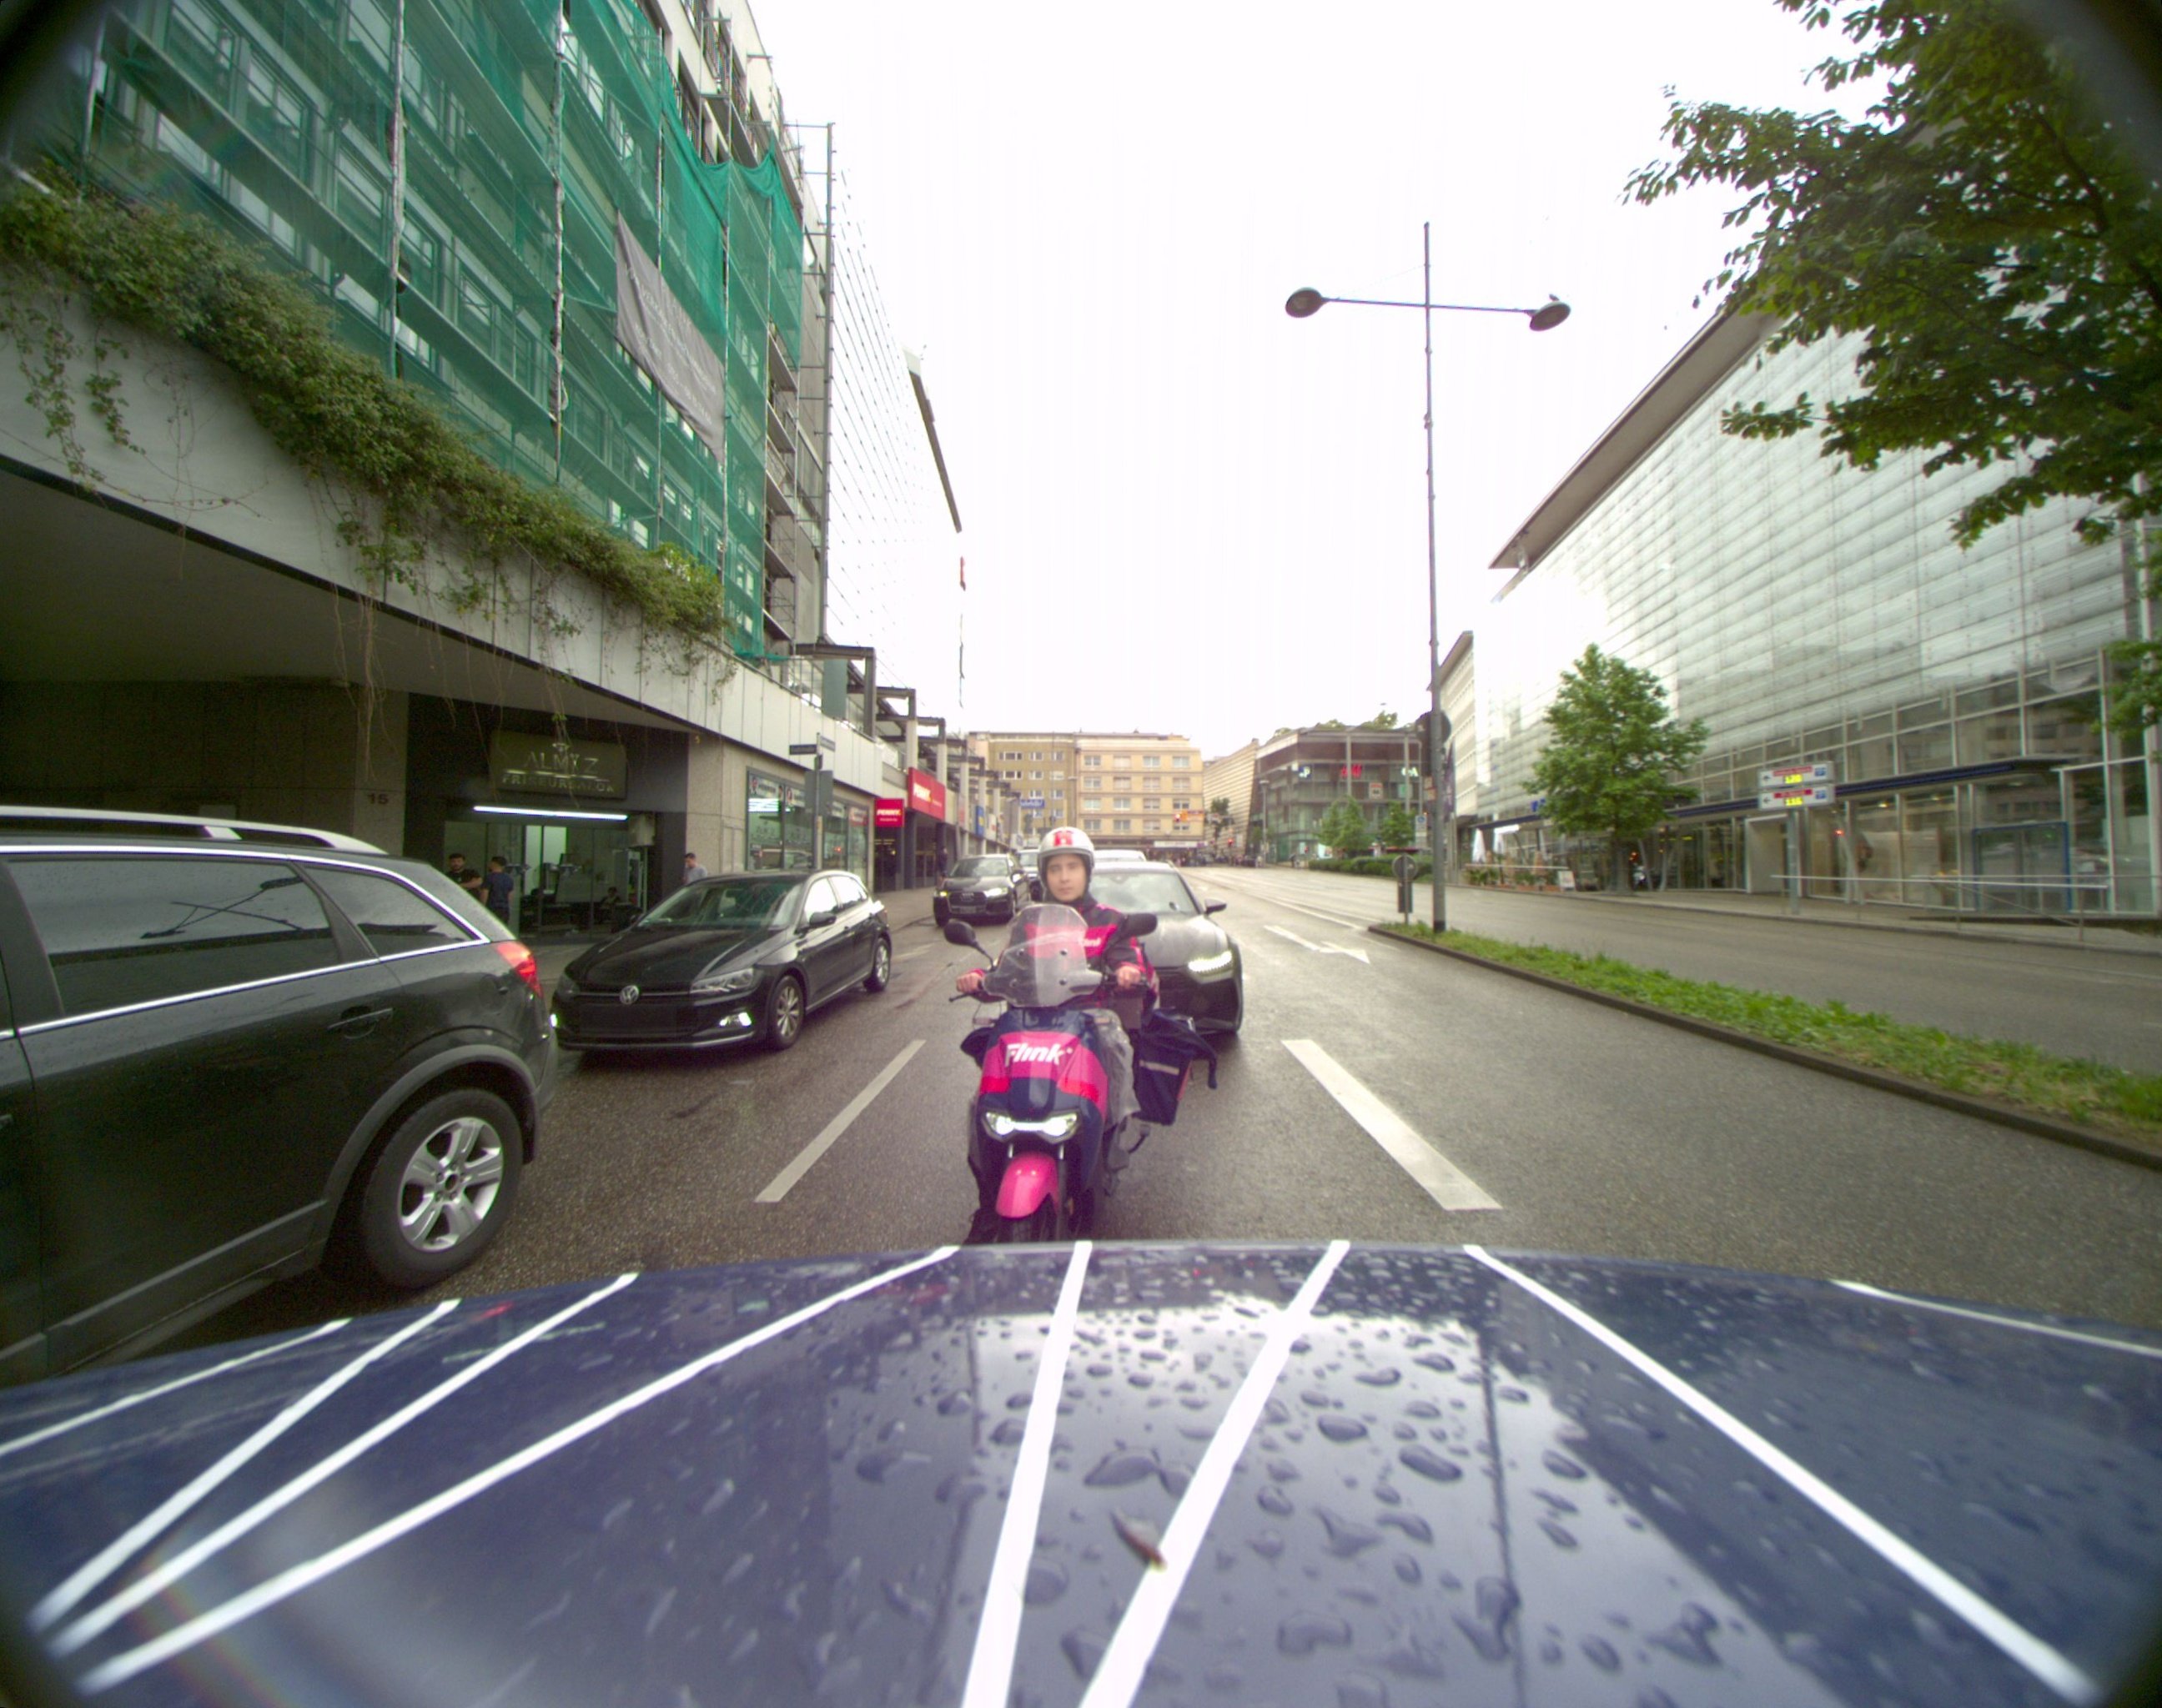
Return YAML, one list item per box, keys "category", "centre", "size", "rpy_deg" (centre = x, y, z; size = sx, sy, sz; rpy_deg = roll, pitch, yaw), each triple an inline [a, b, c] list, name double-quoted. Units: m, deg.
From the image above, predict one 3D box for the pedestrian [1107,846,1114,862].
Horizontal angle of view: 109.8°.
- category: "pedestrian"
  centre: [2.979, 0.034, 77.486]
  size: [0.634, 1.620, 0.602]
  rpy_deg: [0, 1, -1]

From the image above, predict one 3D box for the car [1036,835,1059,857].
- category: "car"
  centre: [-3.130, -0.789, 71.427]
  size: [1.605, 2.002, 3.400]
  rpy_deg: [-2, 1, 7]

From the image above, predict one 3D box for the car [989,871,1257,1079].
- category: "car"
  centre: [0.389, 0.929, 7.576]
  size: [1.890, 1.391, 4.165]
  rpy_deg: [-2, -1, 2]

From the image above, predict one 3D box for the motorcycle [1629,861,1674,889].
- category: "motorcycle"
  centre: [27.981, 1.035, 37.306]
  size: [1.707, 1.319, 0.620]
  rpy_deg: [0, 1, 1]

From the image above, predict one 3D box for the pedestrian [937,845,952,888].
- category: "pedestrian"
  centre: [-5.415, 0.494, 30.155]
  size: [0.510, 1.669, 0.579]
  rpy_deg: [0, 2, 0]

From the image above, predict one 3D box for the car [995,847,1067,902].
- category: "car"
  centre: [-1.630, 0.676, 26.269]
  size: [1.988, 1.696, 4.165]
  rpy_deg: [-2, -1, 2]

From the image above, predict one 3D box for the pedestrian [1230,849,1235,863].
- category: "pedestrian"
  centre: [17.337, 0.237, 87.029]
  size: [0.428, 1.620, 0.602]
  rpy_deg: [1, 1, 3]

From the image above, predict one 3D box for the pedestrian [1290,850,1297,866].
- category: "pedestrian"
  centre: [23.681, 0.407, 84.639]
  size: [0.626, 1.764, 0.689]
  rpy_deg: [-2, 2, 5]

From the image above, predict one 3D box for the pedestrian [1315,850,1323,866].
- category: "pedestrian"
  centre: [25.298, 0.421, 80.662]
  size: [0.633, 1.620, 0.602]
  rpy_deg: [1, 1, 4]

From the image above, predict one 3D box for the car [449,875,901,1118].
- category: "car"
  centre: [-3.208, 1.016, 7.130]
  size: [1.759, 1.495, 4.165]
  rpy_deg: [-2, -1, 4]

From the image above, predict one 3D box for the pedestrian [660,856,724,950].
- category: "pedestrian"
  centre: [-7.054, 0.874, 13.801]
  size: [0.637, 1.633, 0.735]
  rpy_deg: [-1, 2, 28]

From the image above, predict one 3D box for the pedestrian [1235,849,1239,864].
- category: "pedestrian"
  centre: [17.337, 0.300, 84.474]
  size: [0.428, 1.620, 0.602]
  rpy_deg: [1, 1, 5]

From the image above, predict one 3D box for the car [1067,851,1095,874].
- category: "car"
  centre: [0.063, 0.698, 60.381]
  size: [1.988, 1.696, 4.165]
  rpy_deg: [-2, -1, 2]

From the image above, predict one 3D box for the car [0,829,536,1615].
- category: "car"
  centre: [-3.331, 0.843, 1.241]
  size: [1.764, 1.755, 4.164]
  rpy_deg: [-2, -1, 1]

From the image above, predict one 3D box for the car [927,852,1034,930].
- category: "car"
  centre: [-2.289, 0.794, 18.397]
  size: [1.841, 1.598, 4.164]
  rpy_deg: [-2, 1, 2]

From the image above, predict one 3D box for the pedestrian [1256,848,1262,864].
- category: "pedestrian"
  centre: [20.064, 0.259, 85.607]
  size: [0.626, 1.764, 0.689]
  rpy_deg: [-2, 2, 7]

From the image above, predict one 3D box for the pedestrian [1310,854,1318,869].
- category: "pedestrian"
  centre: [25.100, 0.829, 81.813]
  size: [0.633, 1.620, 0.602]
  rpy_deg: [0, 1, 2]

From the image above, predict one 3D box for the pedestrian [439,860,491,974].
- category: "pedestrian"
  centre: [-9.541, 0.951, 11.769]
  size: [0.466, 1.698, 0.484]
  rpy_deg: [0, 2, 42]

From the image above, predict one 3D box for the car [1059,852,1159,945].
- category: "car"
  centre: [0.564, 0.765, 15.173]
  size: [1.675, 1.520, 4.164]
  rpy_deg: [-2, 1, 2]

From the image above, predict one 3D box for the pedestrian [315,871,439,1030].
- category: "pedestrian"
  centre: [-8.407, 1.116, 9.108]
  size: [0.743, 1.805, 0.773]
  rpy_deg: [0, 1, 1]

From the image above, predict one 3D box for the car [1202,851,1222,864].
- category: "car"
  centre: [21.683, 0.560, 125.721]
  size: [2.000, 2.002, 4.584]
  rpy_deg: [0, 1, -7]

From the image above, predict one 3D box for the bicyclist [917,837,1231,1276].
- category: "bicyclist"
  centre: [-0.016, 0.717, 3.103]
  size: [1.063, 1.534, 0.825]
  rpy_deg: [-2, 2, 0]

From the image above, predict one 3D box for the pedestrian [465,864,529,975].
- category: "pedestrian"
  centre: [-8.797, 0.965, 11.461]
  size: [0.640, 1.586, 0.576]
  rpy_deg: [-3, 2, -32]

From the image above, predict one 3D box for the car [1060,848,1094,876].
- category: "car"
  centre: [-0.228, 0.534, 49.968]
  size: [1.988, 1.696, 4.165]
  rpy_deg: [-2, -1, 2]

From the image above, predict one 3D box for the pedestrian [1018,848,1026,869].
- category: "pedestrian"
  centre: [-4.072, 0.311, 52.816]
  size: [0.510, 1.492, 0.579]
  rpy_deg: [0, 2, 0]

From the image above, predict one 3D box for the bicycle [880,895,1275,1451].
- category: "bicycle"
  centre: [0.010, 0.959, 3.546]
  size: [1.034, 1.279, 2.948]
  rpy_deg: [-2, 1, 1]
